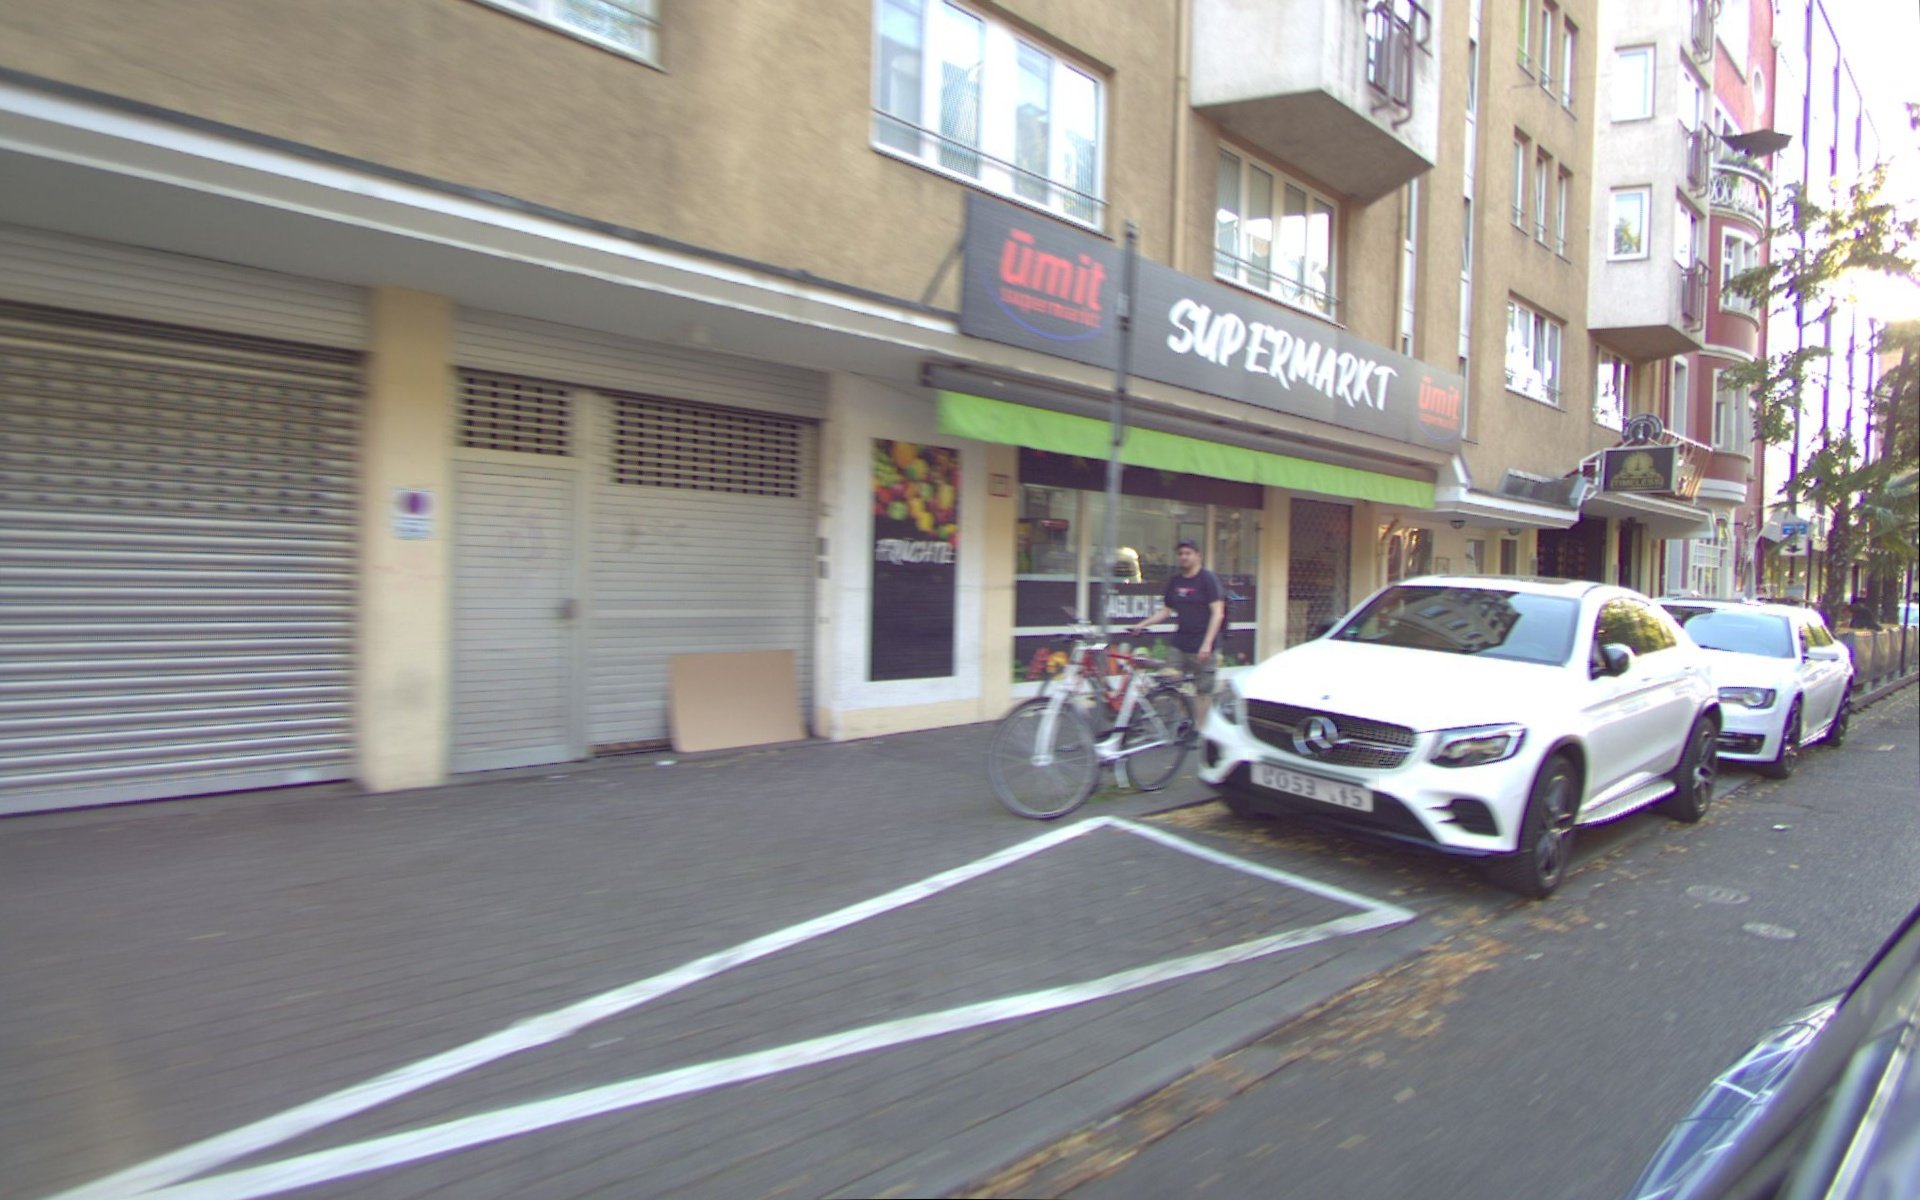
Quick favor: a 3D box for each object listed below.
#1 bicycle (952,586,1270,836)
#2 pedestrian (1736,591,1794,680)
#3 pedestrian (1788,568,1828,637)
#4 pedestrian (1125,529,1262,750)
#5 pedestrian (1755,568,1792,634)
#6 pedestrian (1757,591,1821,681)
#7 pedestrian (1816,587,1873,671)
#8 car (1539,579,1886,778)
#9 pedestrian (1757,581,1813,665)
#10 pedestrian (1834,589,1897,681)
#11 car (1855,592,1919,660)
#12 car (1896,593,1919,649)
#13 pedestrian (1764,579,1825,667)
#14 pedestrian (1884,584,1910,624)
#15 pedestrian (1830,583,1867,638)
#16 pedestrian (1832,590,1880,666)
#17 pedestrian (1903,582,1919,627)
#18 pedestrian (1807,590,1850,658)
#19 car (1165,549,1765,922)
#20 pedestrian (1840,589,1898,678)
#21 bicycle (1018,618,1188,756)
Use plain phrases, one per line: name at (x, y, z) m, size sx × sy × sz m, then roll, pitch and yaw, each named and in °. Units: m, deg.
bicycle at (0.990, 0.584, 6.282) m, size 2.014 × 1.277 × 0.777 m, roll 0°, pitch 4°, yaw -41°
pedestrian at (13.142, 0.563, 16.524) m, size 0.592 × 1.401 × 0.578 m, roll 0°, pitch 3°, yaw -41°
pedestrian at (23.988, 0.054, 28.629) m, size 0.959 × 1.890 × 0.627 m, roll 0°, pitch 4°, yaw -42°
pedestrian at (1.927, 0.287, 8.378) m, size 0.688 × 1.725 × 0.789 m, roll 0°, pitch 2°, yaw -41°
pedestrian at (23.484, 0.018, 29.207) m, size 0.821 × 1.831 × 0.590 m, roll 0°, pitch 4°, yaw -42°
pedestrian at (12.249, 0.518, 14.949) m, size 0.592 × 1.259 × 0.578 m, roll 0°, pitch 3°, yaw -41°
pedestrian at (16.697, 0.532, 19.101) m, size 0.781 × 1.503 × 0.632 m, roll 0°, pitch 3°, yaw -41°
car at (8.006, 0.615, 10.547) m, size 5.100 × 1.498 × 1.846 m, roll 0°, pitch 4°, yaw -42°
pedestrian at (14.356, 0.389, 17.614) m, size 0.706 × 1.401 × 0.578 m, roll 0°, pitch 3°, yaw -41°
pedestrian at (13.852, 0.521, 15.480) m, size 0.691 × 1.335 × 0.578 m, roll 0°, pitch 3°, yaw -41°
car at (23.313, 0.608, 24.420) m, size 4.910 × 1.457 × 1.779 m, roll 0°, pitch 4°, yaw -40°
car at (27.919, 0.605, 28.548) m, size 4.342 × 1.488 × 1.778 m, roll 0°, pitch 4°, yaw -42°
pedestrian at (16.225, 0.433, 19.676) m, size 0.781 × 1.618 × 0.709 m, roll 1°, pitch 3°, yaw -41°
pedestrian at (42.455, 0.190, 45.847) m, size 0.798 × 1.780 × 0.756 m, roll 0°, pitch 1°, yaw -42°
pedestrian at (25.172, 0.297, 28.673) m, size 0.629 × 1.506 × 0.625 m, roll 0°, pitch 2°, yaw -41°
pedestrian at (18.160, 0.553, 20.511) m, size 0.592 × 1.480 × 0.578 m, roll 1°, pitch 3°, yaw -41°
pedestrian at (39.834, 0.201, 41.823) m, size 0.928 × 1.807 × 1.049 m, roll 0°, pitch 4°, yaw -41°
pedestrian at (18.000, 0.479, 20.979) m, size 0.430 × 1.361 × 0.549 m, roll 0°, pitch 3°, yaw -41°
car at (3.575, 0.566, 6.702) m, size 4.610 × 1.593 × 1.883 m, roll 0°, pitch 4°, yaw -41°
pedestrian at (14.999, 0.533, 16.701) m, size 0.592 × 1.401 × 0.578 m, roll 0°, pitch 3°, yaw -41°
bicycle at (1.174, 0.651, 8.124) m, size 1.523 × 0.970 × 0.459 m, roll 0°, pitch 2°, yaw -42°
